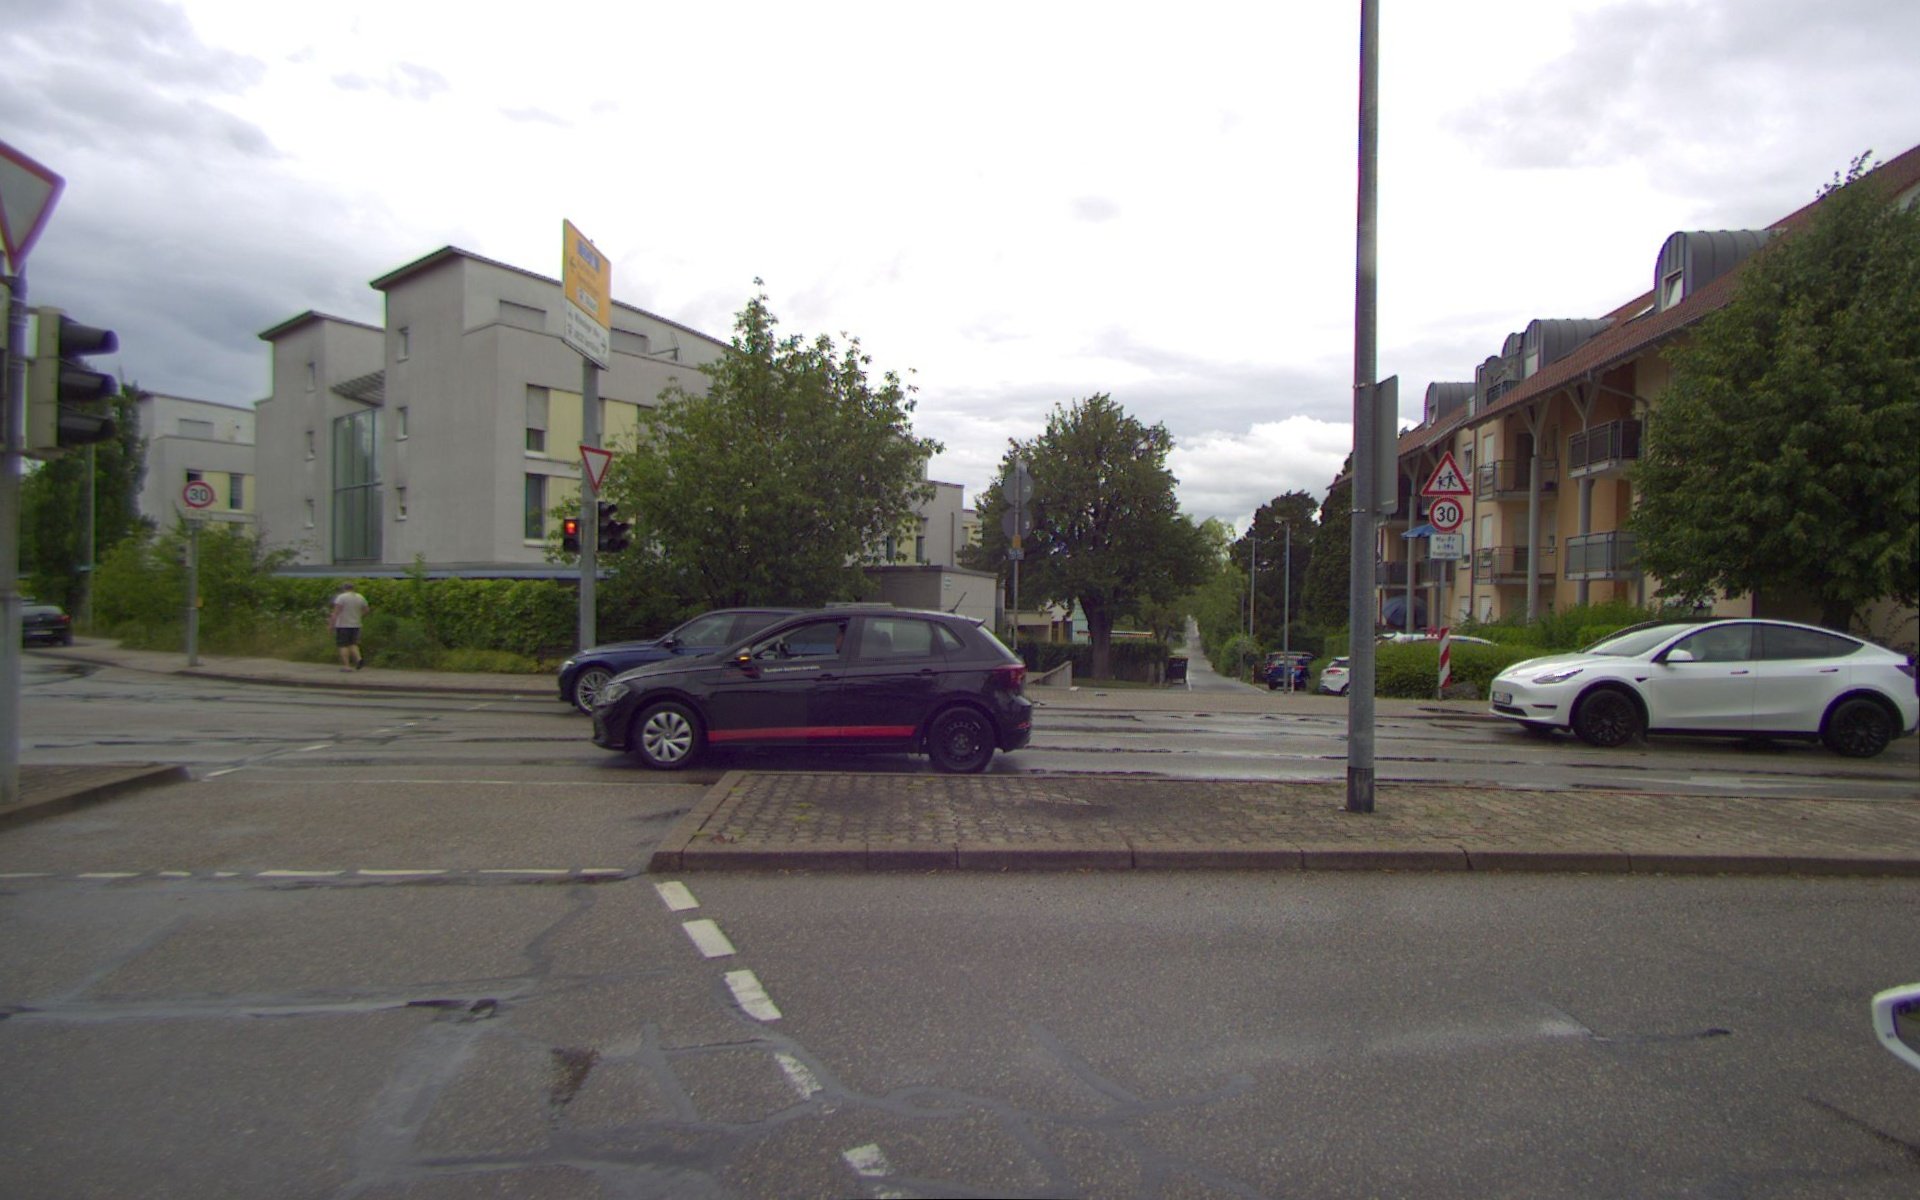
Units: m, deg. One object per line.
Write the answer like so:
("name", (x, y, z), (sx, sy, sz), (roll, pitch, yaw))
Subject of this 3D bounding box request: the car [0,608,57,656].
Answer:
("car", (-34.075, 1.121, 36.002), (3.940, 1.576, 1.991), (1, -1, 40))

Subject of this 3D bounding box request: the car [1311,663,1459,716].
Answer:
("car", (12.621, 2.637, 30.028), (3.783, 1.427, 1.768), (0, -2, 12))

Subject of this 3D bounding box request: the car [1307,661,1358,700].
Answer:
("car", (15.582, 3.339, 42.198), (1.731, 1.426, 3.864), (-1, -2, 16))

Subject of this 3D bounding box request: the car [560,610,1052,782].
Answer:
("car", (-1.298, 0.840, 9.384), (4.120, 1.427, 1.822), (0, -2, -1))

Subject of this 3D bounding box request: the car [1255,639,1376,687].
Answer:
("car", (20.060, 3.545, 57.043), (5.899, 2.230, 2.854), (3, -1, 7))

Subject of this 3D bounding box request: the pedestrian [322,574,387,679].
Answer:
("pedestrian", (-12.149, 0.519, 20.163), (0.788, 2.040, 0.847), (1, 0, 34))

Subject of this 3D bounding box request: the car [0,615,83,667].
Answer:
("car", (-30.453, 1.278, 32.941), (3.940, 1.576, 1.990), (0, 0, 40))

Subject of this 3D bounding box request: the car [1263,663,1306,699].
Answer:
("car", (14.617, 3.625, 45.340), (1.731, 1.426, 3.864), (-1, -2, 16))

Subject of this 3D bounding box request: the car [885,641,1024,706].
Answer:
("car", (-0.231, 2.505, 34.919), (4.584, 2.040, 2.026), (-1, -3, 40))

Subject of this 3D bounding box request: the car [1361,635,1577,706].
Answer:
("car", (11.578, 1.586, 23.133), (4.118, 1.458, 1.824), (1, -3, 13))

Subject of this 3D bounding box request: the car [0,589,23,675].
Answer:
("car", (-21.958, 0.602, 21.624), (3.937, 1.692, 1.992), (4, 1, 38))

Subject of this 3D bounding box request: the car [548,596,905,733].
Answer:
("car", (-3.021, 0.798, 13.493), (4.265, 1.454, 1.760), (3, 1, 5))

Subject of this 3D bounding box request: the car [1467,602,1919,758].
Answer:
("car", (9.289, 0.968, 12.954), (4.508, 1.748, 1.955), (1, -1, 5))
